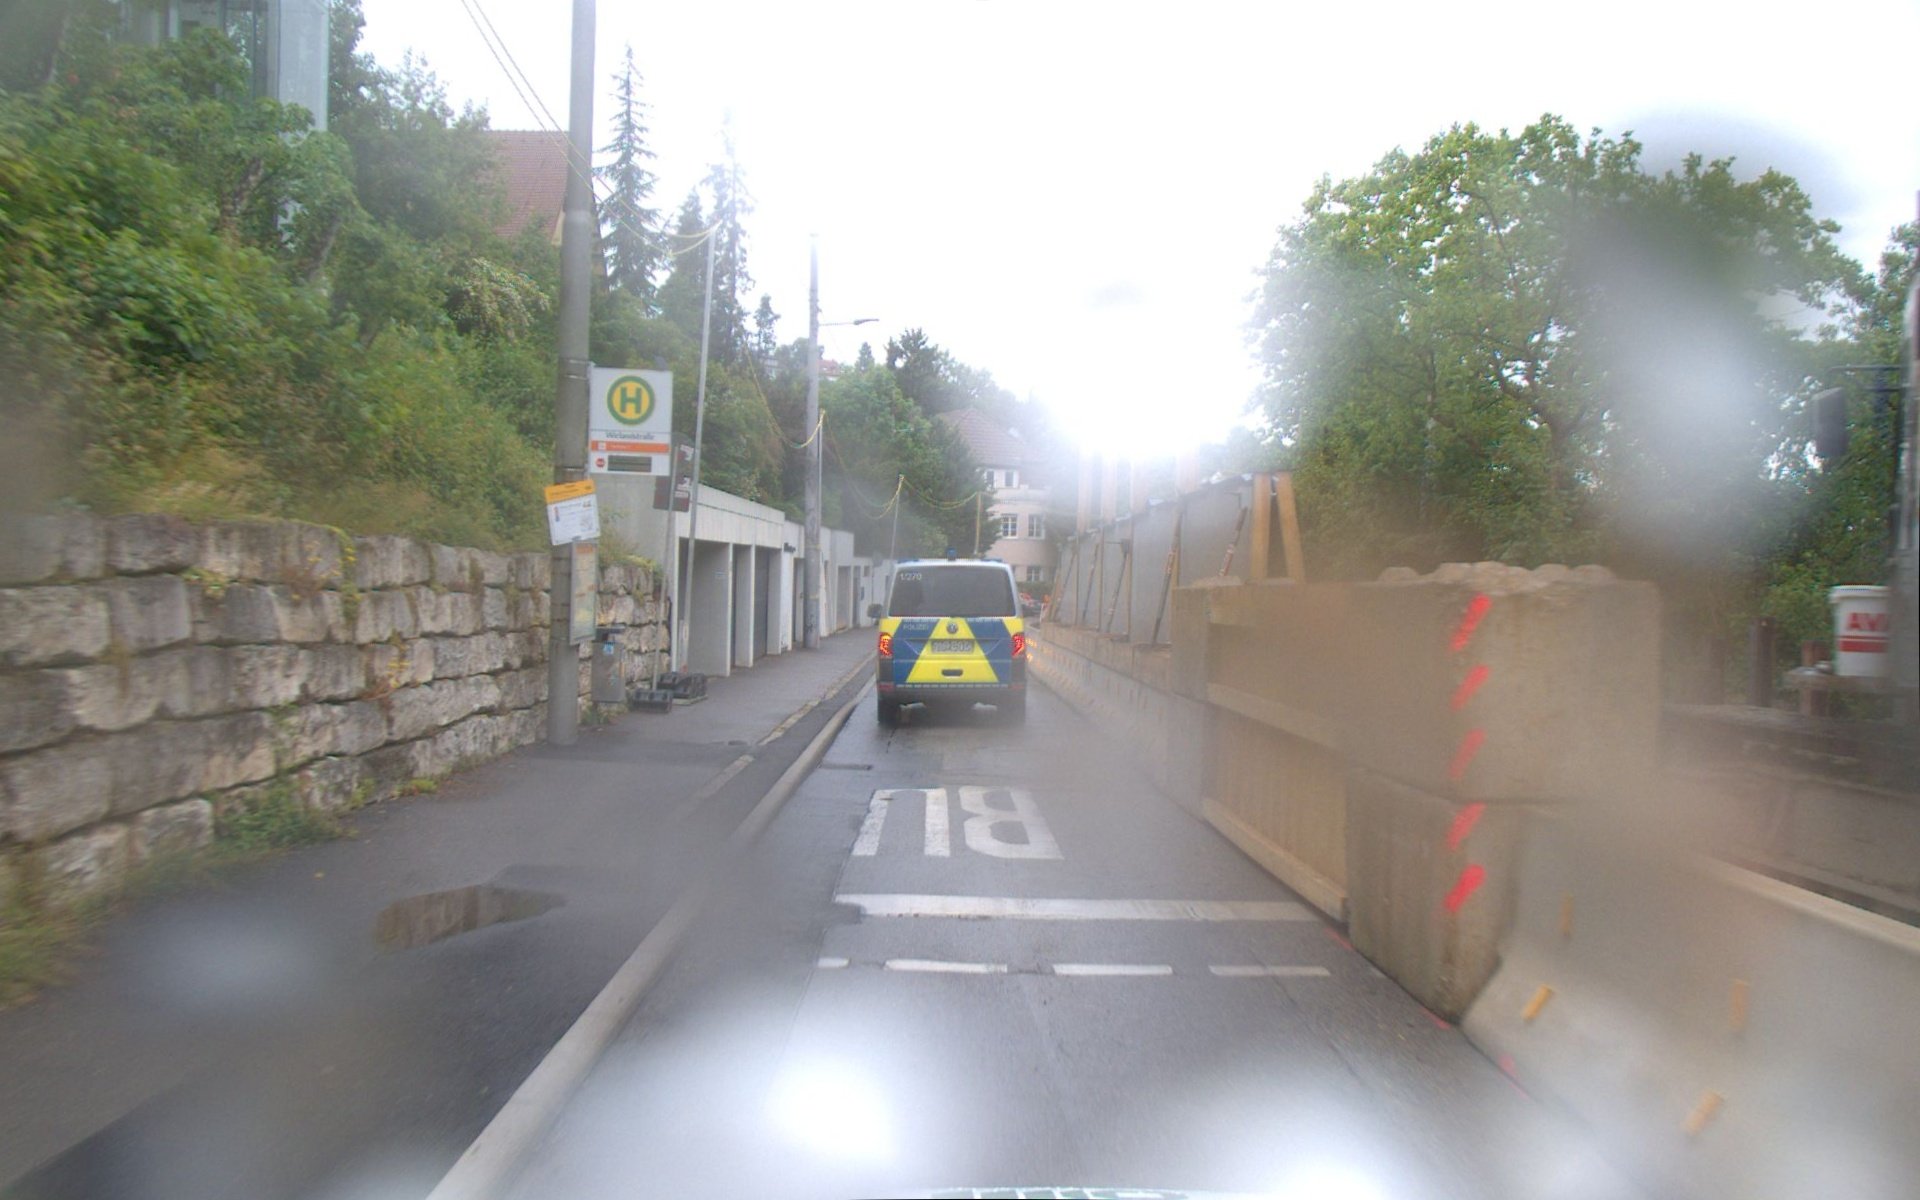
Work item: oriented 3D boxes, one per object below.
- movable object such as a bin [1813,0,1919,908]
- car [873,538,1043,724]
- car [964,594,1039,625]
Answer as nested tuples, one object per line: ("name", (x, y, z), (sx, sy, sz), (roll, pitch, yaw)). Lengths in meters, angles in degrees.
("movable object such as a bin", (6.122, -1.502, 7.798), (3.611, 5.155, 7.154), (1, -1, 27))
("car", (-0.061, 0.387, 21.370), (1.869, 2.045, 4.438), (3, -1, -1))
("car", (2.390, 0.546, 95.373), (3.913, 1.544, 1.725), (3, -1, 30))
